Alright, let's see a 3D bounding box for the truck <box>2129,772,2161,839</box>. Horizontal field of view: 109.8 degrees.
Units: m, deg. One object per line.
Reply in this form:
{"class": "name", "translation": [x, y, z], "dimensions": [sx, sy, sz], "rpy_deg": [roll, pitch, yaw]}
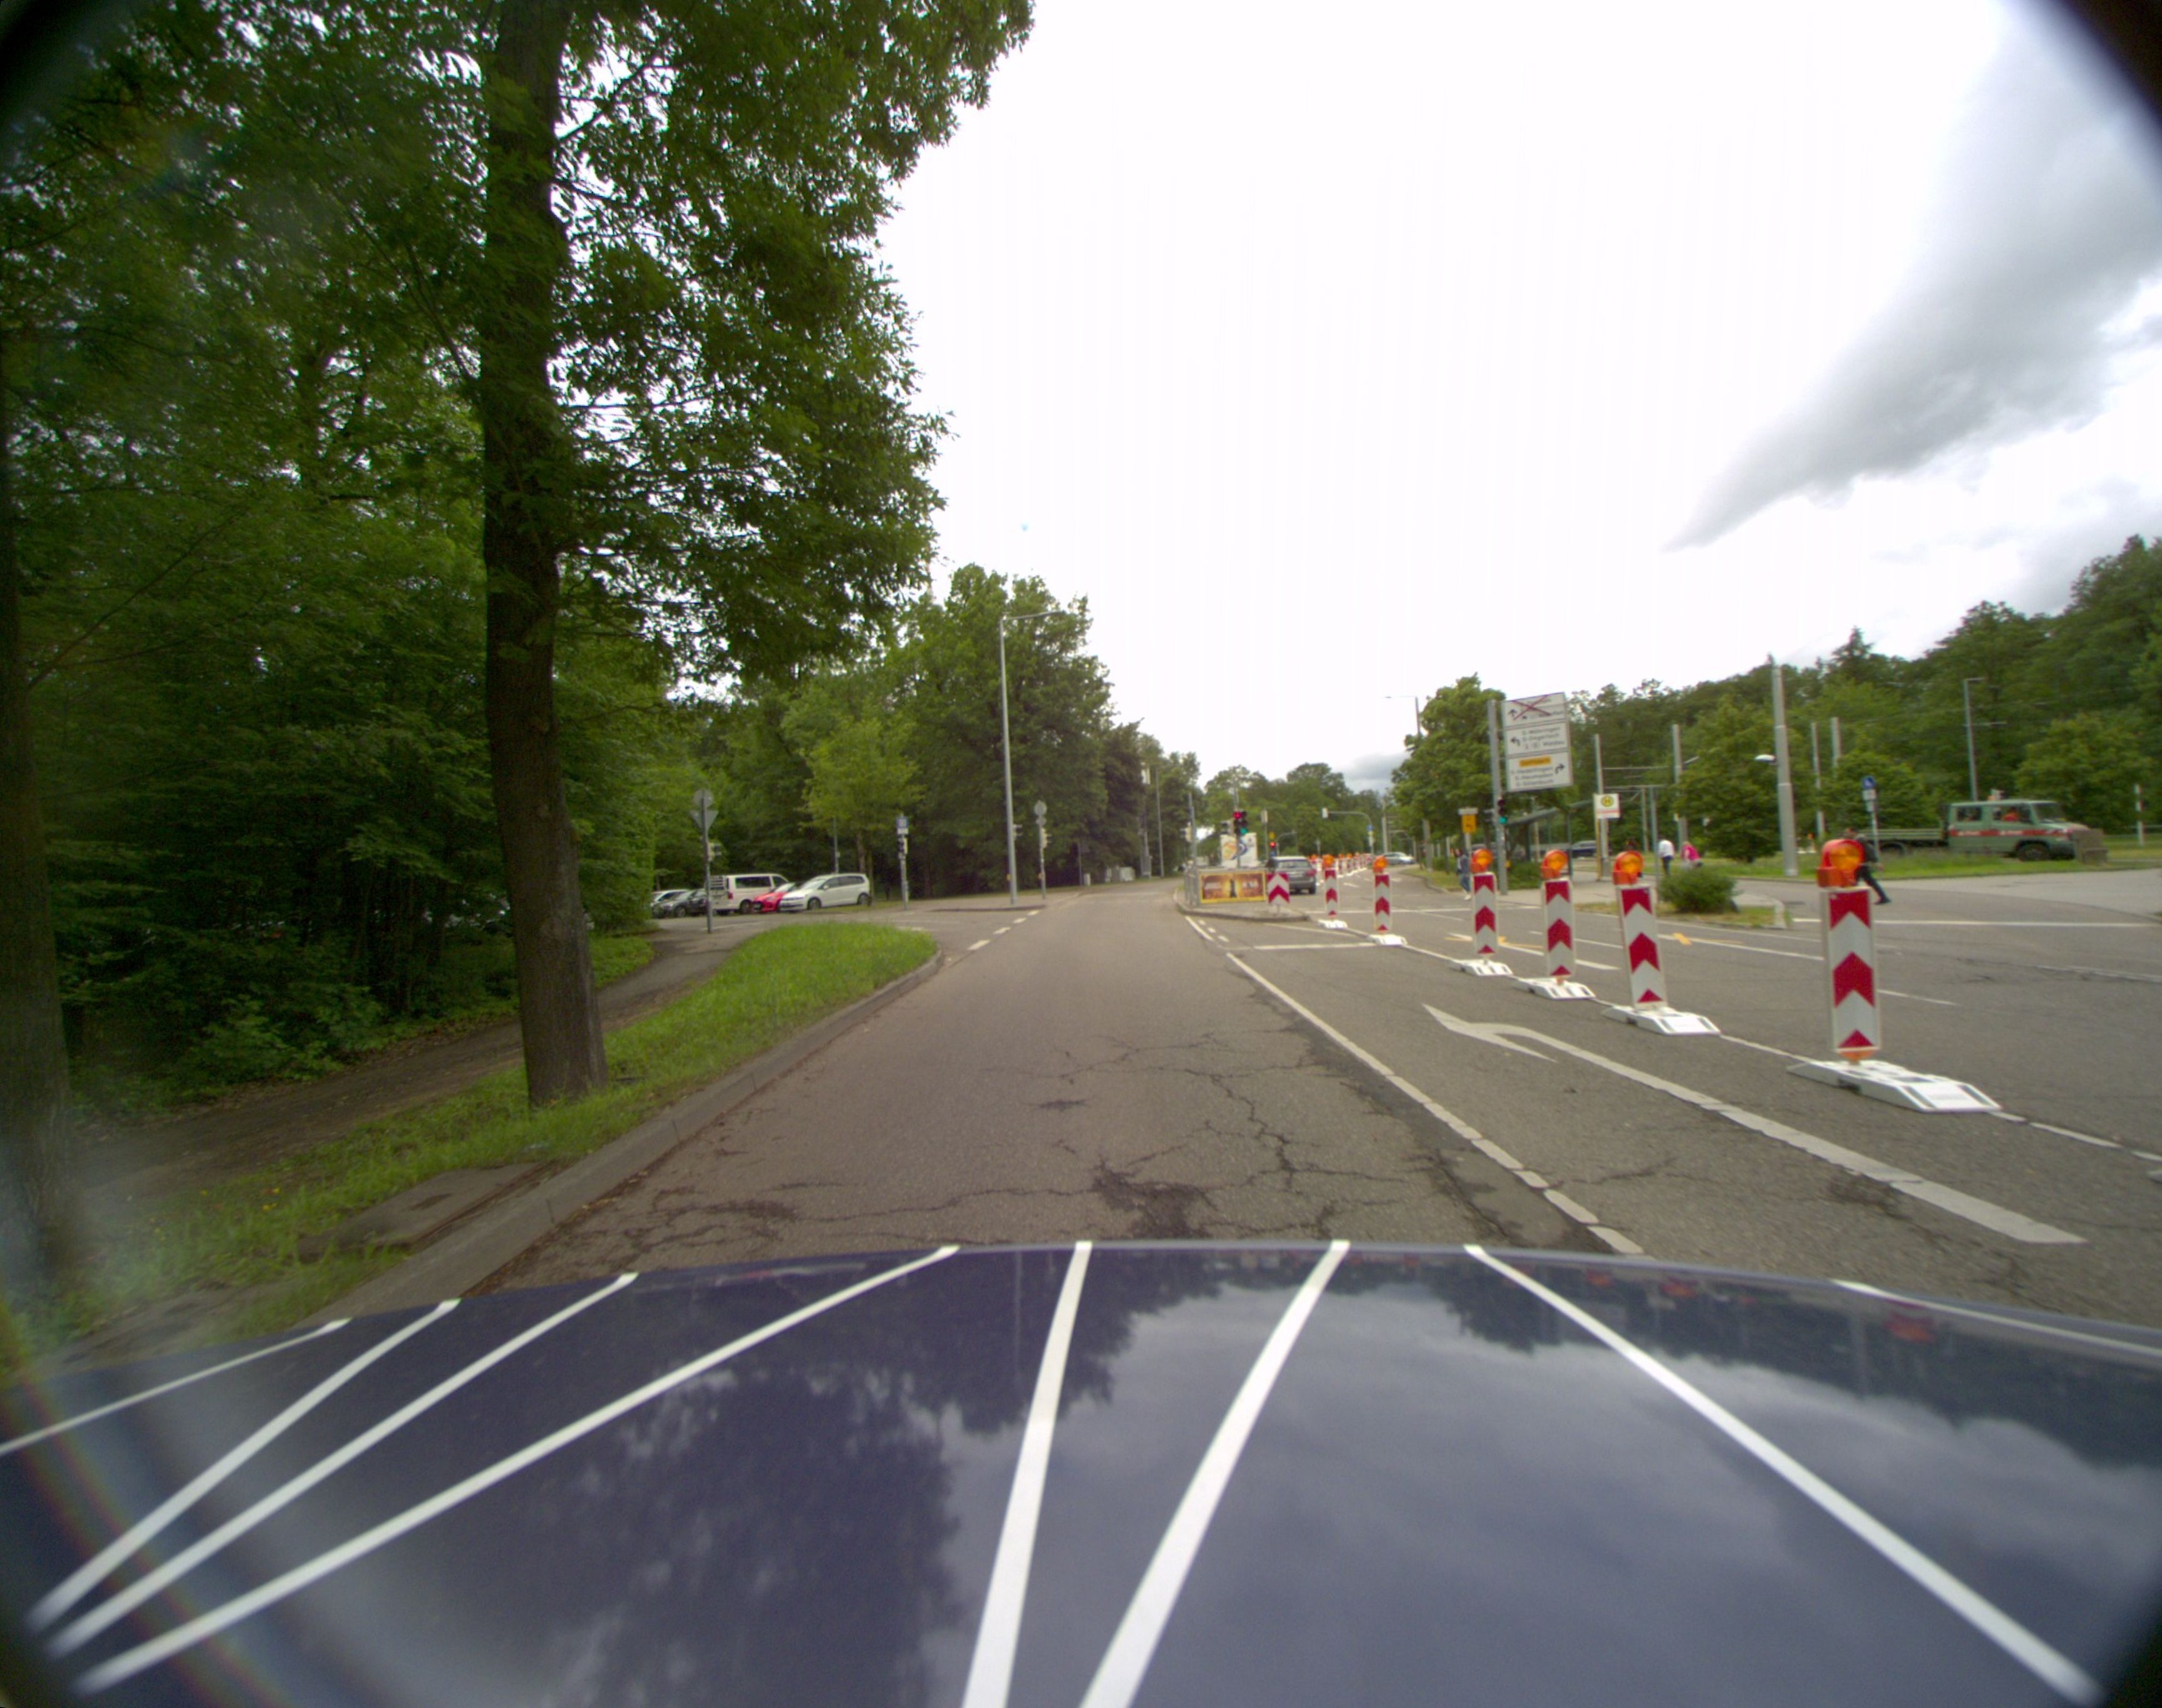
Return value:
{"class": "truck", "translation": [65.780, -3.103, 41.738], "dimensions": [3.791, 3.858, 8.760], "rpy_deg": [-4, -1, -19]}

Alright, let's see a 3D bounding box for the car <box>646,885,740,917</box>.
{"class": "car", "translation": [-20.768, 2.502, 40.835], "dimensions": [1.815, 1.317, 4.136], "rpy_deg": [-4, -1, 29]}

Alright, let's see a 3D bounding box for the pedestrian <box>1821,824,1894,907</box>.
{"class": "pedestrian", "translation": [17.565, 0.264, 17.214], "dimensions": [0.992, 1.798, 0.768], "rpy_deg": [-4, -1, 40]}

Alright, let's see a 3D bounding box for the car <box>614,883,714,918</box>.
{"class": "car", "translation": [-22.987, 2.539, 42.049], "dimensions": [1.839, 1.548, 4.540], "rpy_deg": [-4, -1, 26]}

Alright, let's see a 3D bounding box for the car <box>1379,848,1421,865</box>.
{"class": "car", "translation": [36.093, 0.300, 86.071], "dimensions": [1.900, 1.630, 3.976], "rpy_deg": [-4, -1, -28]}

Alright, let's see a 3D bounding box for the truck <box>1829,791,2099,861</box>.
{"class": "truck", "translation": [34.216, -0.978, 29.823], "dimensions": [2.609, 2.157, 6.294], "rpy_deg": [-4, -1, -19]}

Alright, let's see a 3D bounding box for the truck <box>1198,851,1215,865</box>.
{"class": "truck", "translation": [30.068, 0.914, 182.108], "dimensions": [2.743, 3.192, 6.682], "rpy_deg": [-4, -1, 19]}

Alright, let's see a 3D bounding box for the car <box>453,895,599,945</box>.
{"class": "car", "translation": [-20.094, 2.372, 27.701], "dimensions": [1.817, 1.411, 3.855], "rpy_deg": [-4, -1, 22]}

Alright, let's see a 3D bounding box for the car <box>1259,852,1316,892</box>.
{"class": "car", "translation": [8.531, 0.713, 31.766], "dimensions": [1.811, 1.500, 4.310], "rpy_deg": [-1, 0, 9]}

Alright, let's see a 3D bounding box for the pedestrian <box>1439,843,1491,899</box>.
{"class": "pedestrian", "translation": [12.087, 0.524, 23.917], "dimensions": [1.094, 1.666, 0.910], "rpy_deg": [-2, 0, -19]}

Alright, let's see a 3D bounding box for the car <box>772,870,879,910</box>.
{"class": "car", "translation": [-11.988, 1.684, 35.975], "dimensions": [1.995, 1.542, 4.429], "rpy_deg": [-5, -1, 33]}

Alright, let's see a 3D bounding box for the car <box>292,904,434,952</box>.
{"class": "car", "translation": [-31.006, 3.168, 32.966], "dimensions": [1.844, 1.608, 3.997], "rpy_deg": [-4, -1, 24]}

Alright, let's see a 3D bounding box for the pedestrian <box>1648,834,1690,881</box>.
{"class": "pedestrian", "translation": [21.286, 0.140, 27.524], "dimensions": [0.686, 1.655, 0.869], "rpy_deg": [-4, -1, -21]}

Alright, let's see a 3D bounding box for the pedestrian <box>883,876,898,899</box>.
{"class": "pedestrian", "translation": [-14.525, 2.540, 58.017], "dimensions": [0.833, 1.641, 1.035], "rpy_deg": [-4, -1, -4]}

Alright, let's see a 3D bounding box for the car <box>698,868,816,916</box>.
{"class": "car", "translation": [-16.326, 1.876, 38.648], "dimensions": [2.058, 1.946, 5.191], "rpy_deg": [-4, 0, 29]}

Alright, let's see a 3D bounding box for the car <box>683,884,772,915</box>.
{"class": "car", "translation": [-18.578, 2.371, 40.087], "dimensions": [1.717, 1.320, 3.943], "rpy_deg": [-4, -1, 27]}

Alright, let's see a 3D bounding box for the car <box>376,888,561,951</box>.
{"class": "car", "translation": [-22.922, 2.418, 28.701], "dimensions": [1.995, 1.867, 4.959], "rpy_deg": [-4, -1, 28]}

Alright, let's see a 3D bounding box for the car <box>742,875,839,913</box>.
{"class": "car", "translation": [-14.167, 1.930, 37.254], "dimensions": [1.890, 1.542, 4.007], "rpy_deg": [-4, -1, 33]}

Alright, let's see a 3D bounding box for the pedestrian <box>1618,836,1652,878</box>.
{"class": "pedestrian", "translation": [20.860, 0.100, 28.611], "dimensions": [0.775, 1.537, 0.629], "rpy_deg": [-4, 1, 12]}

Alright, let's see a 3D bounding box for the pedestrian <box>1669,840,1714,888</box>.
{"class": "pedestrian", "translation": [20.633, 0.347, 25.703], "dimensions": [0.792, 1.542, 0.775], "rpy_deg": [-4, -1, -7]}

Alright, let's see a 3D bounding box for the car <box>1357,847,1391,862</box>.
{"class": "car", "translation": [38.423, 0.102, 99.710], "dimensions": [1.861, 1.712, 3.785], "rpy_deg": [-4, -1, -28]}

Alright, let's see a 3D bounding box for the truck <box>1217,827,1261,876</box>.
{"class": "truck", "translation": [11.012, -0.161, 53.421], "dimensions": [2.634, 3.219, 6.210], "rpy_deg": [-1, 0, 8]}

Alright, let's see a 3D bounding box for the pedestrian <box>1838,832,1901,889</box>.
{"class": "pedestrian", "translation": [22.110, 0.192, 21.332], "dimensions": [0.767, 1.515, 0.876], "rpy_deg": [-4, -1, 5]}
